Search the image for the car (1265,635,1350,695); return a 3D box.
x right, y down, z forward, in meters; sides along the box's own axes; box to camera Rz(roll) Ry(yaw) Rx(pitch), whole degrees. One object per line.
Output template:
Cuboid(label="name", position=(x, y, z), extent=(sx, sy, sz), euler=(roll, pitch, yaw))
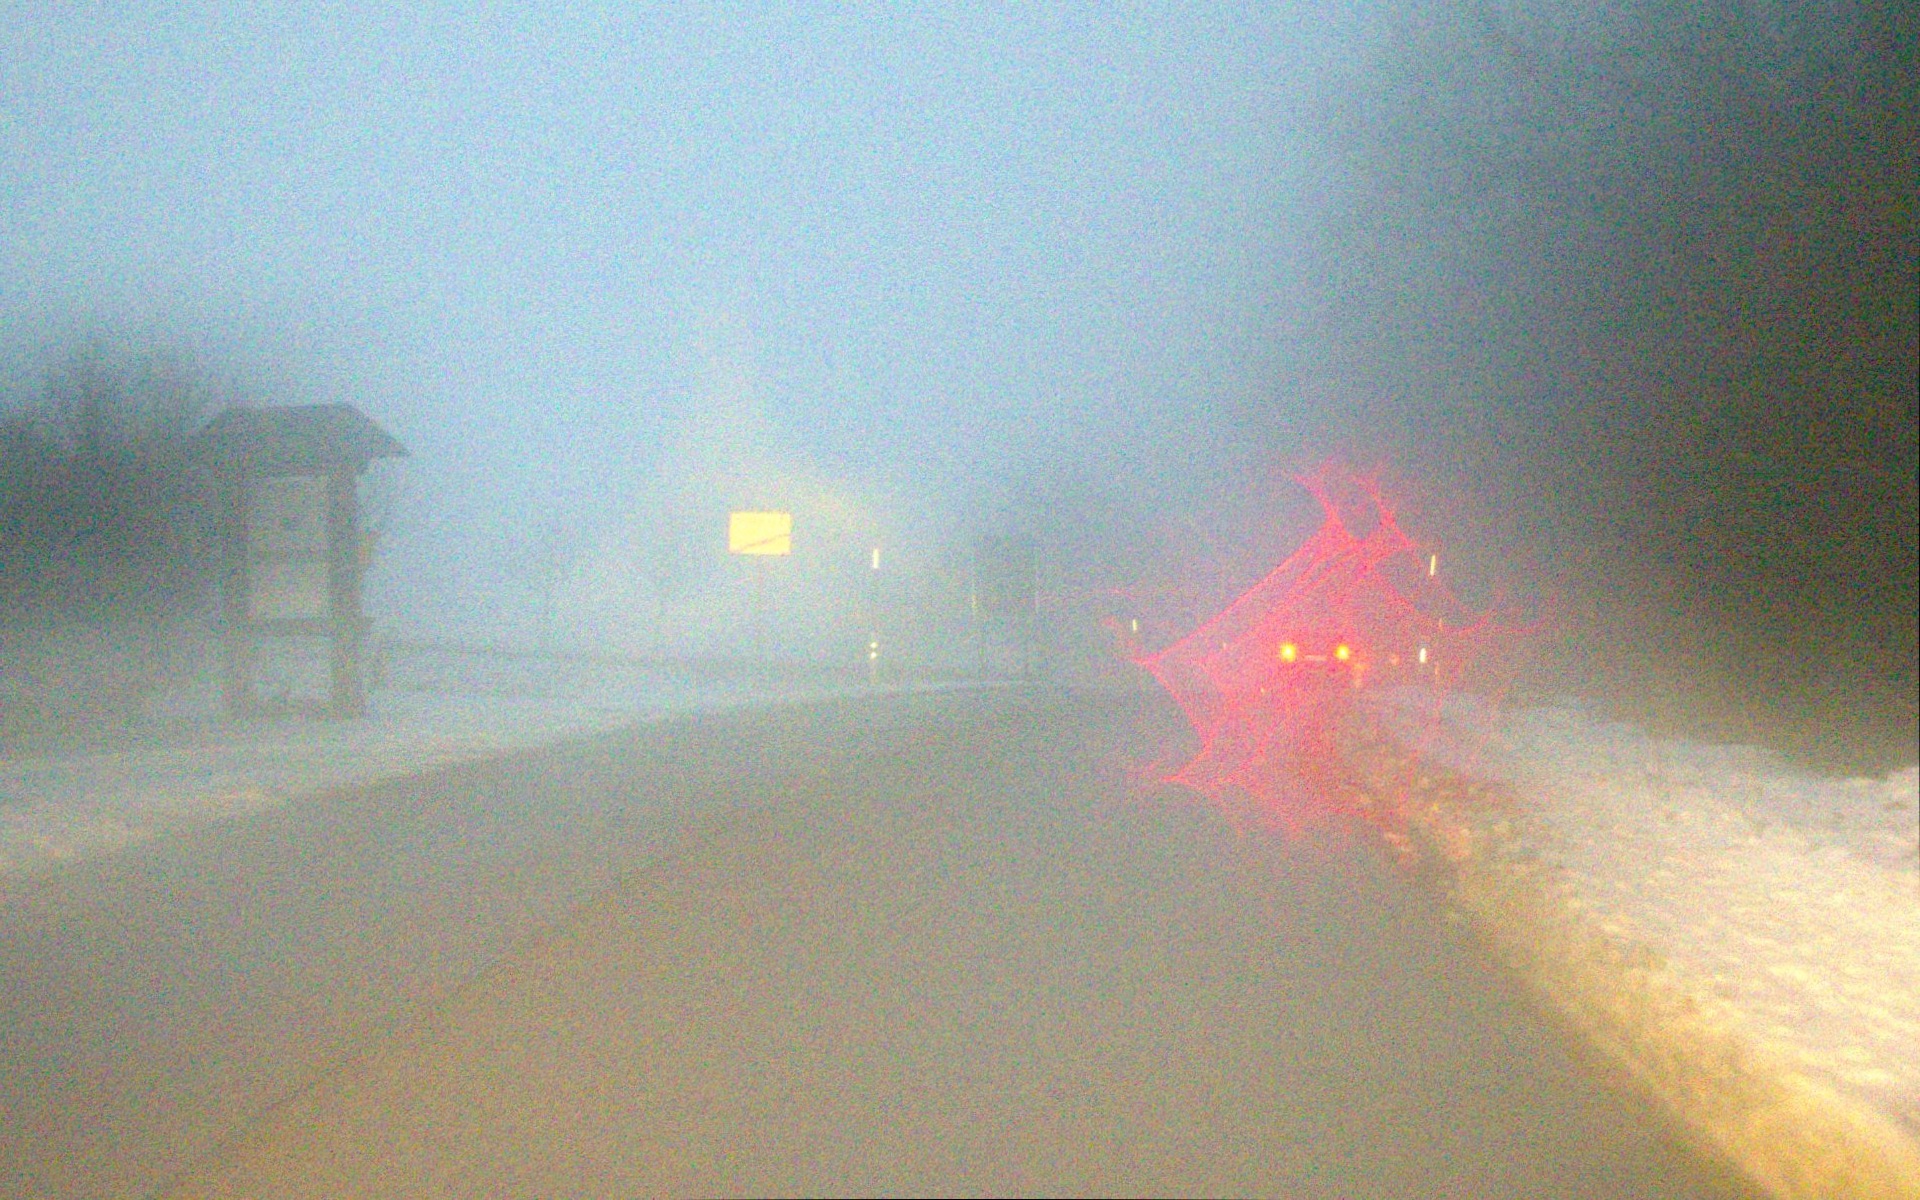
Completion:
Cuboid(label="car", position=(8.383, 1.563, 82.924), extent=(1.994, 1.415, 3.999), euler=(0, -1, 6))
